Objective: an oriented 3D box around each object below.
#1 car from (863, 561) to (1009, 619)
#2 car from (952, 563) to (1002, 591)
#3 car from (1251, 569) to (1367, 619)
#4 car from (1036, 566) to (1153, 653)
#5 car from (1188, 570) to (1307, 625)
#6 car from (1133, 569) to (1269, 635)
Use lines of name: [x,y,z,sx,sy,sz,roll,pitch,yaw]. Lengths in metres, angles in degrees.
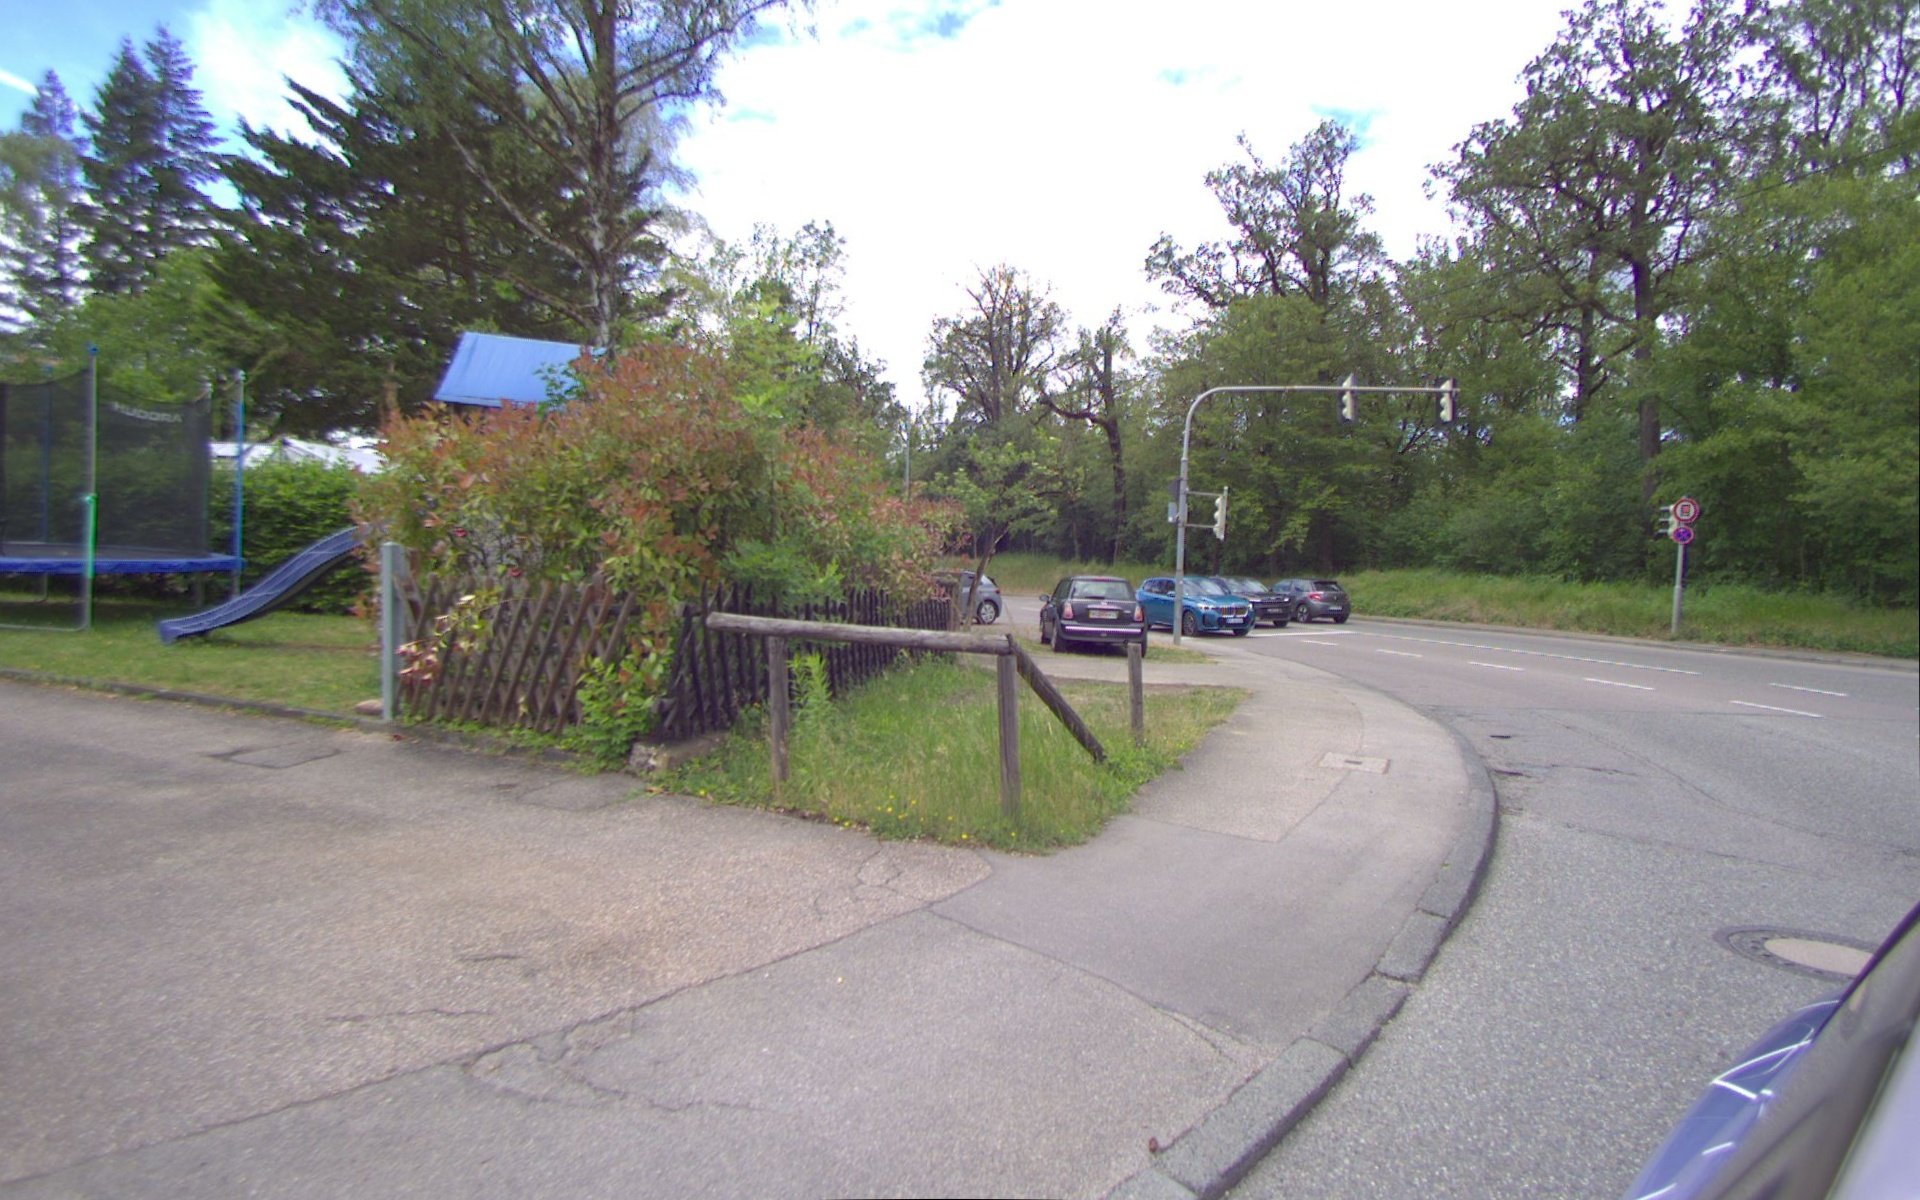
car: [-0.652,-0.265,28.725,3.925,1.544,1.661,0,0,-36]
car: [0.916,-1.323,57.326,1.669,1.463,4.010,0,2,-17]
car: [11.672,-0.259,34.133,1.785,1.528,3.818,-1,3,-16]
car: [2.451,0.106,19.190,1.625,1.408,3.607,3,2,-1]
car: [8.966,-0.140,31.891,1.701,1.525,4.010,-1,3,-16]
car: [6.737,-0.021,28.734,1.876,1.596,4.010,-2,4,-19]
